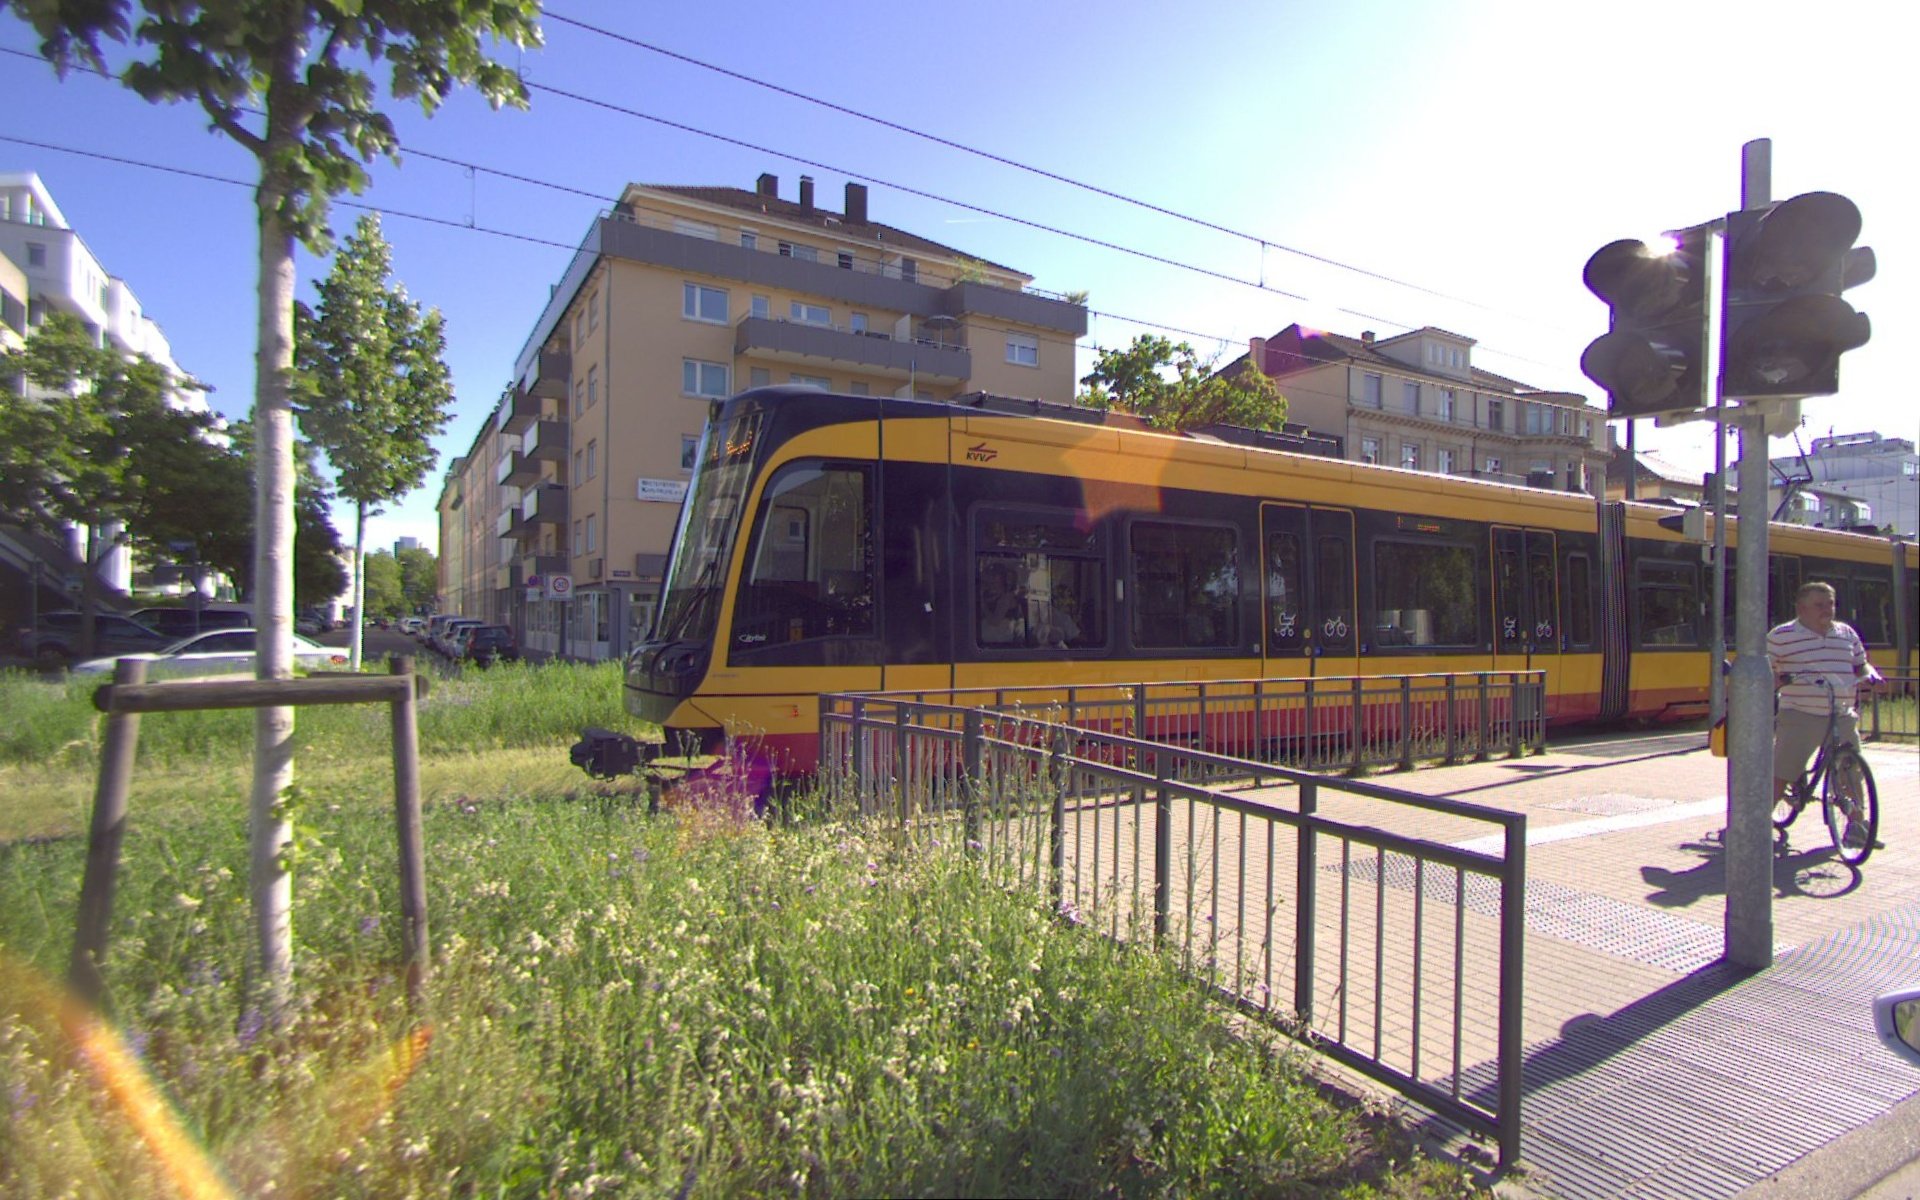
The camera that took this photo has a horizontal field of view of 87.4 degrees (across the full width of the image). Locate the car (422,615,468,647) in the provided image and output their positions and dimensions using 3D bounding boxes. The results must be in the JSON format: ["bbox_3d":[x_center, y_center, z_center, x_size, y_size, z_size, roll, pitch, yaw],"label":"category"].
[{"bbox_3d":[-28.291,1.689,55.122,1.977,1.639,3.967,1,0,-31],"label":"car"}]

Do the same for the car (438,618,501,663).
[{"bbox_3d":[-20.140,1.632,41.193,1.977,1.639,3.967,1,0,-31],"label":"car"}]

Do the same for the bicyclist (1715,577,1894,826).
[{"bbox_3d":[5.602,0.628,6.721,0.815,1.532,0.728,1,0,34],"label":"bicyclist"}]

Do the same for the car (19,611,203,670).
[{"bbox_3d":[-25.809,1.210,30.750,3.953,1.662,1.984,1,0,-30],"label":"car"}]

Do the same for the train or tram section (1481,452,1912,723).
[{"bbox_3d":[13.350,-0.046,17.593,11.188,3.718,1.983,2,0,-32],"label":"train or tram section"}]

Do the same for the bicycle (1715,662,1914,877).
[{"bbox_3d":[5.611,1.019,6.718,0.722,1.105,2.077,1,0,33],"label":"bicycle"}]

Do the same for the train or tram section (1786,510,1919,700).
[{"bbox_3d":[23.031,0.225,23.471,11.549,3.718,1.983,2,0,-31],"label":"train or tram section"}]

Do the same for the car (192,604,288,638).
[{"bbox_3d":[-37.519,1.089,52.451,3.958,1.662,1.981,2,0,-34],"label":"car"}]

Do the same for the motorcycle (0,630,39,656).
[{"bbox_3d":[-36.632,1.647,38.467,1.925,0.974,0.450,1,0,-30],"label":"motorcycle"}]

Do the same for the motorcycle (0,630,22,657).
[{"bbox_3d":[-35.764,1.596,37.079,1.599,0.974,0.367,1,0,-30],"label":"motorcycle"}]

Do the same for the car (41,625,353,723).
[{"bbox_3d":[-14.065,1.309,18.931,4.458,1.599,1.982,2,0,-33],"label":"car"}]

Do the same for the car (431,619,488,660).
[{"bbox_3d":[-22.557,1.743,45.226,1.977,1.639,3.967,1,0,-31],"label":"car"}]

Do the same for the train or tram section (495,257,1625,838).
[{"bbox_3d":[2.710,-0.181,10.997,13.994,3.718,1.983,2,0,-32],"label":"train or tram section"}]

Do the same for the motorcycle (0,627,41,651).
[{"bbox_3d":[-38.424,1.586,40.695,1.675,0.974,0.393,1,0,-30],"label":"motorcycle"}]

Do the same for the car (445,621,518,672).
[{"bbox_3d":[-17.245,1.637,36.098,1.977,1.639,3.967,1,0,-31],"label":"car"}]

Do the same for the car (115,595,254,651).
[{"bbox_3d":[-29.103,0.856,37.866,3.958,1.996,1.981,2,0,-34],"label":"car"}]

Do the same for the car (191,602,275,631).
[{"bbox_3d":[-43.572,1.012,60.289,3.958,1.662,1.981,2,0,-34],"label":"car"}]

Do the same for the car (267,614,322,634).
[{"bbox_3d":[-58.874,2.121,88.919,3.960,1.662,1.981,2,0,-35],"label":"car"}]
